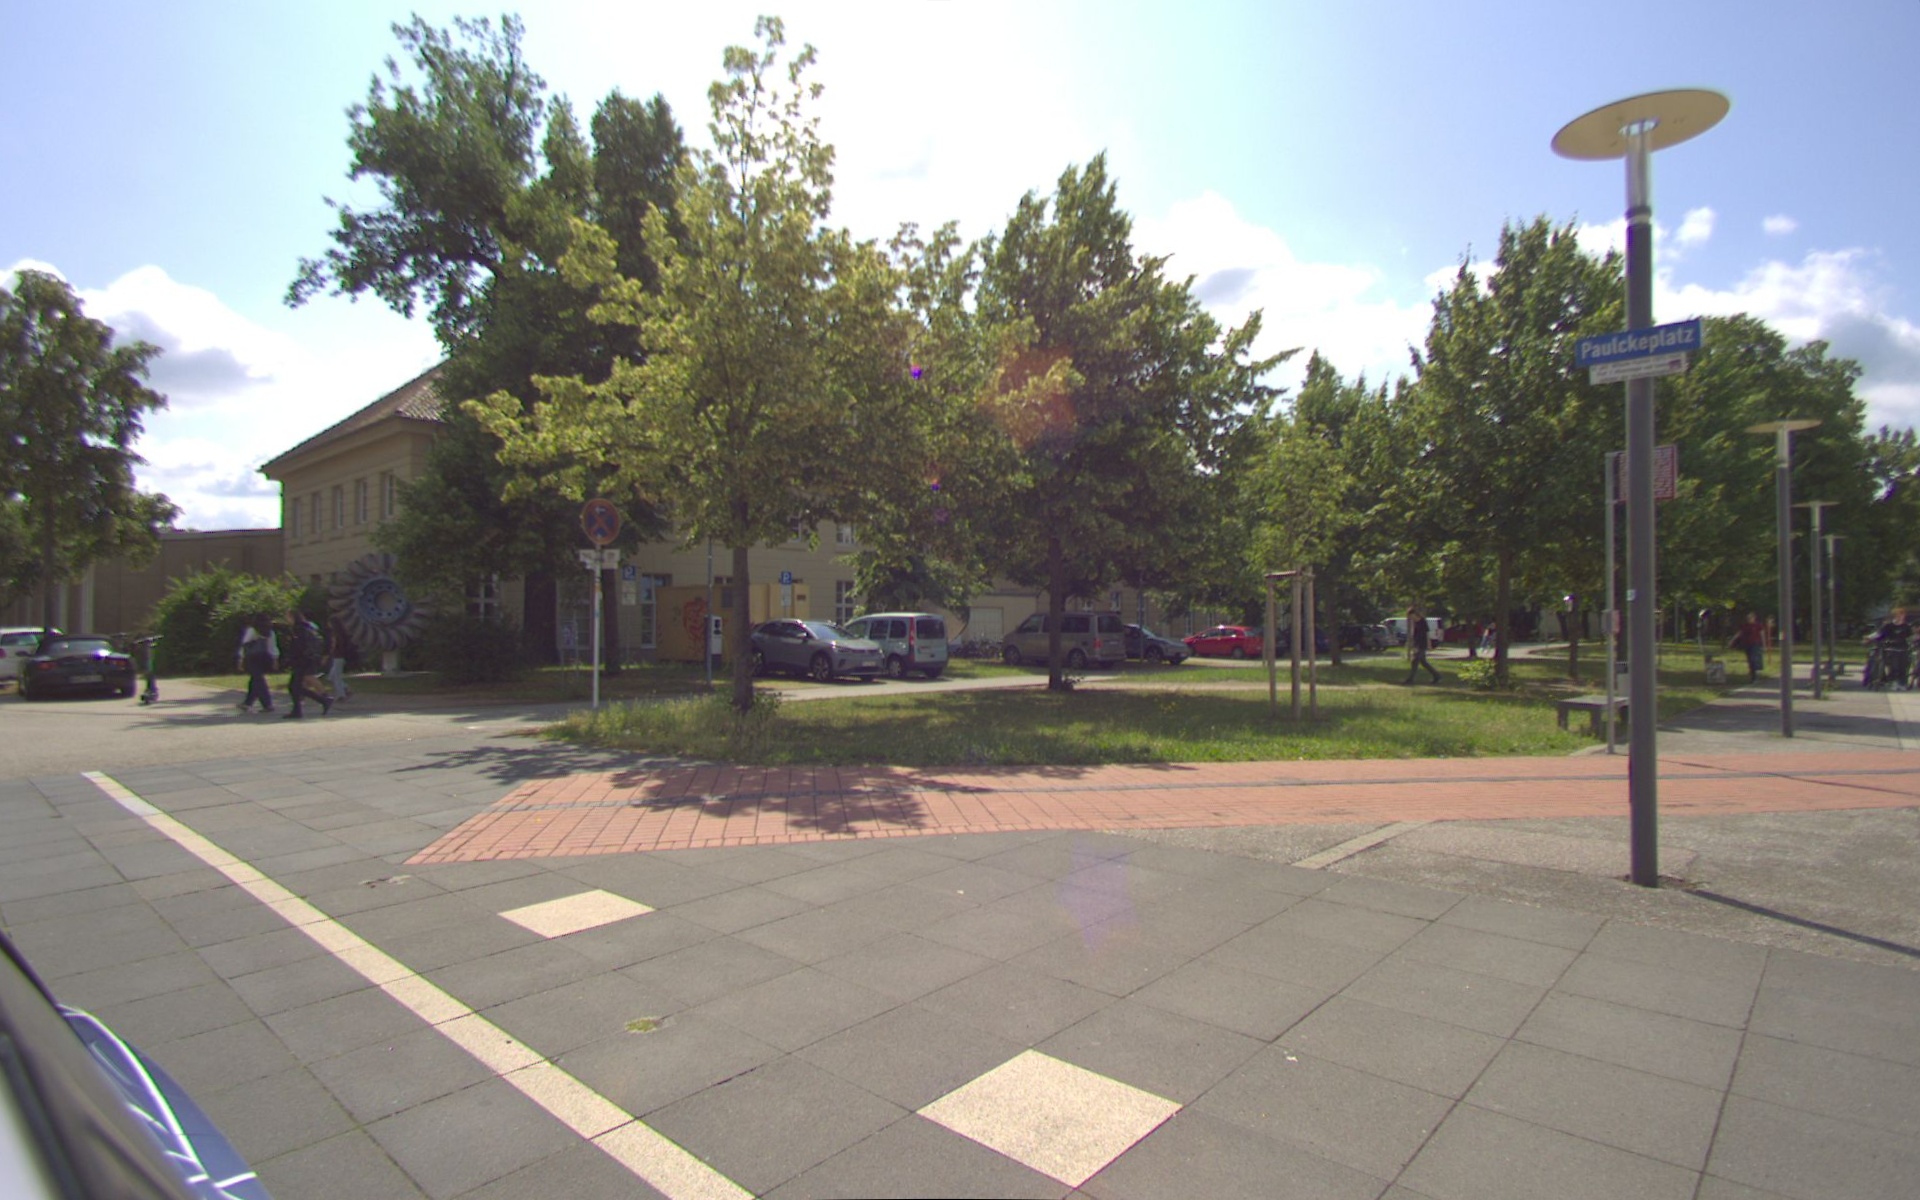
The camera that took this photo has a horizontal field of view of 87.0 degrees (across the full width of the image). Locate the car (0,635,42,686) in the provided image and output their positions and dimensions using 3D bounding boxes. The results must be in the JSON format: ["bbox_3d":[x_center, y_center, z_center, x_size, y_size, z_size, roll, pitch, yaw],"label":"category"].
[{"bbox_3d":[-27.871,1.725,29.305,4.001,1.387,1.626,-2,-2,44],"label":"car"}]

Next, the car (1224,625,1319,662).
[{"bbox_3d":[15.363,2.095,49.963,4.124,1.679,1.787,0,-1,42],"label":"car"}]

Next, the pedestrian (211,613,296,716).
[{"bbox_3d":[-12.124,1.107,17.382,0.991,1.729,0.621,0,-2,1],"label":"pedestrian"}]

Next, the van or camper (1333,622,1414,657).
[{"bbox_3d":[24.177,2.288,59.230,4.082,1.900,1.787,0,-1,42],"label":"van or camper"}]

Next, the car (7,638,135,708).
[{"bbox_3d":[-18.662,1.460,21.195,3.763,1.305,1.678,-2,-2,44],"label":"car"}]

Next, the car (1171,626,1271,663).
[{"bbox_3d":[11.969,2.027,46.579,1.786,1.553,4.127,2,-1,-44],"label":"car"}]

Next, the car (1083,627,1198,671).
[{"bbox_3d":[7.071,1.889,39.848,4.124,1.553,1.787,0,-1,42],"label":"car"}]

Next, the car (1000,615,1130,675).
[{"bbox_3d":[3.667,1.549,36.025,1.786,1.974,4.531,2,-1,-44],"label":"car"}]

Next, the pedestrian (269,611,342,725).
[{"bbox_3d":[-10.601,1.095,16.426,0.858,1.800,0.571,1,-3,-20],"label":"pedestrian"}]

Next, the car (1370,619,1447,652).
[{"bbox_3d":[28.448,2.231,64.274,4.124,1.958,1.787,0,-1,42],"label":"car"}]

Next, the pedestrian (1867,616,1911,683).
[{"bbox_3d":[22.710,1.190,24.738,0.748,1.593,0.843,-2,-2,43],"label":"pedestrian"}]

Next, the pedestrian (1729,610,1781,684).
[{"bbox_3d":[20.815,1.225,26.498,0.656,1.906,0.858,1,-2,-31],"label":"pedestrian"}]

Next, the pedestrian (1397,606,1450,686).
[{"bbox_3d":[10.681,1.056,23.346,0.859,1.800,0.637,0,-2,-9],"label":"pedestrian"}]

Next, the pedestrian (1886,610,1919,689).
[{"bbox_3d":[21.094,1.079,22.409,0.749,1.710,0.875,-2,-2,38],"label":"pedestrian"}]

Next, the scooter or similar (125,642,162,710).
[{"bbox_3d":[-15.346,1.408,19.013,0.464,1.225,1.206,1,-2,-42],"label":"scooter or similar"}]

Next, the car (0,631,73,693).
[{"bbox_3d":[-23.487,1.496,25.288,3.632,1.442,1.613,-2,-2,43],"label":"car"}]

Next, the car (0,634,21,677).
[{"bbox_3d":[-33.897,1.908,35.111,4.001,1.444,1.694,-2,-2,44],"label":"car"}]

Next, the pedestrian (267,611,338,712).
[{"bbox_3d":[-12.033,1.105,18.549,0.885,1.800,0.728,0,-2,-14],"label":"pedestrian"}]

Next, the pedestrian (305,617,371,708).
[{"bbox_3d":[-11.976,1.187,19.504,0.956,1.729,0.559,0,-2,-18],"label":"pedestrian"}]

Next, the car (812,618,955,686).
[{"bbox_3d":[-2.274,1.447,29.329,4.124,1.799,1.787,0,-1,42],"label":"car"}]

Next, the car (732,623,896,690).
[{"bbox_3d":[-4.048,1.459,27.548,4.649,1.593,1.874,0,-1,42],"label":"car"}]

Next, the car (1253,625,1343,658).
[{"bbox_3d":[17.601,2.137,52.797,4.124,1.553,1.787,0,-1,42],"label":"car"}]

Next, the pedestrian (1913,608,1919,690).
[{"bbox_3d":[22.016,1.093,22.720,0.748,1.852,0.687,0,-2,-31],"label":"pedestrian"}]
